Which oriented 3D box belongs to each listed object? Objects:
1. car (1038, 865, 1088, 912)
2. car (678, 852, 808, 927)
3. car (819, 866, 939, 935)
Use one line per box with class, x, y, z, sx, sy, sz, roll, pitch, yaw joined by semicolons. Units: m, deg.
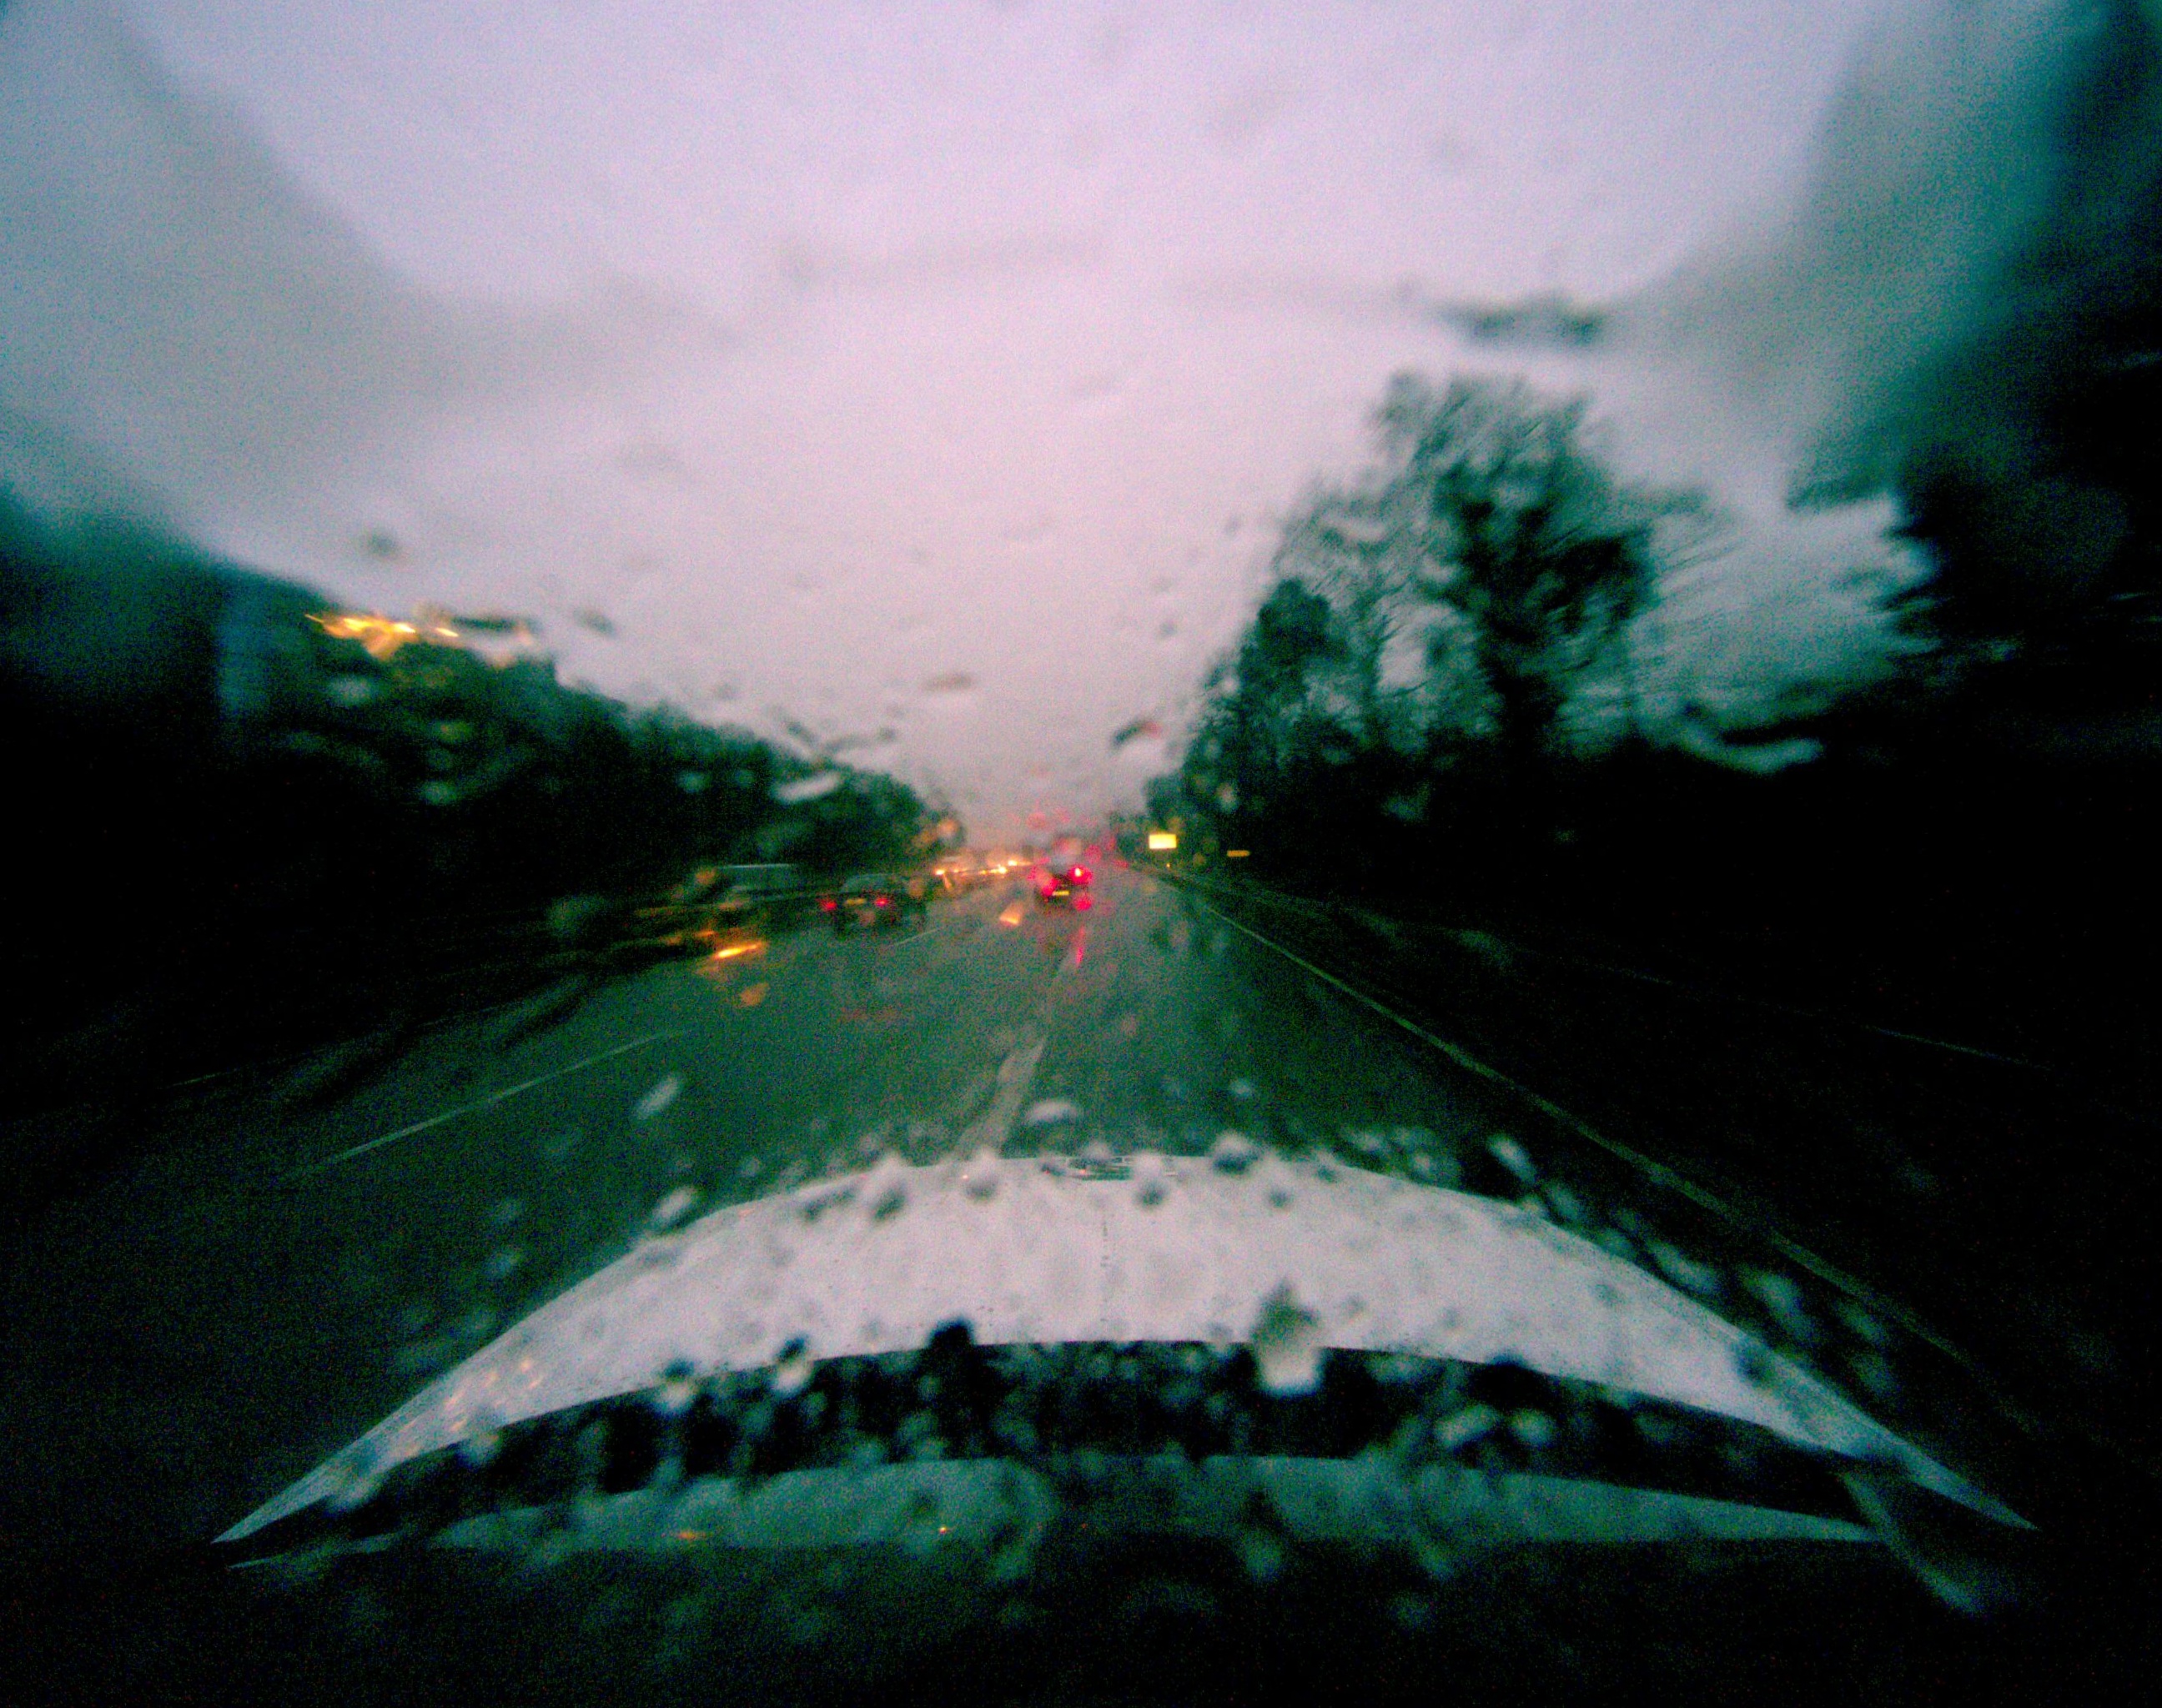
car;-0.543;1.091;27.059;1.522;1.416;3.479;0;0;0
car;-11.419;1.113;27.974;1.966;2.281;5.055;-2;0;4
car;-5.438;1.189;22.615;1.768;1.534;4.707;-4;-1;4
